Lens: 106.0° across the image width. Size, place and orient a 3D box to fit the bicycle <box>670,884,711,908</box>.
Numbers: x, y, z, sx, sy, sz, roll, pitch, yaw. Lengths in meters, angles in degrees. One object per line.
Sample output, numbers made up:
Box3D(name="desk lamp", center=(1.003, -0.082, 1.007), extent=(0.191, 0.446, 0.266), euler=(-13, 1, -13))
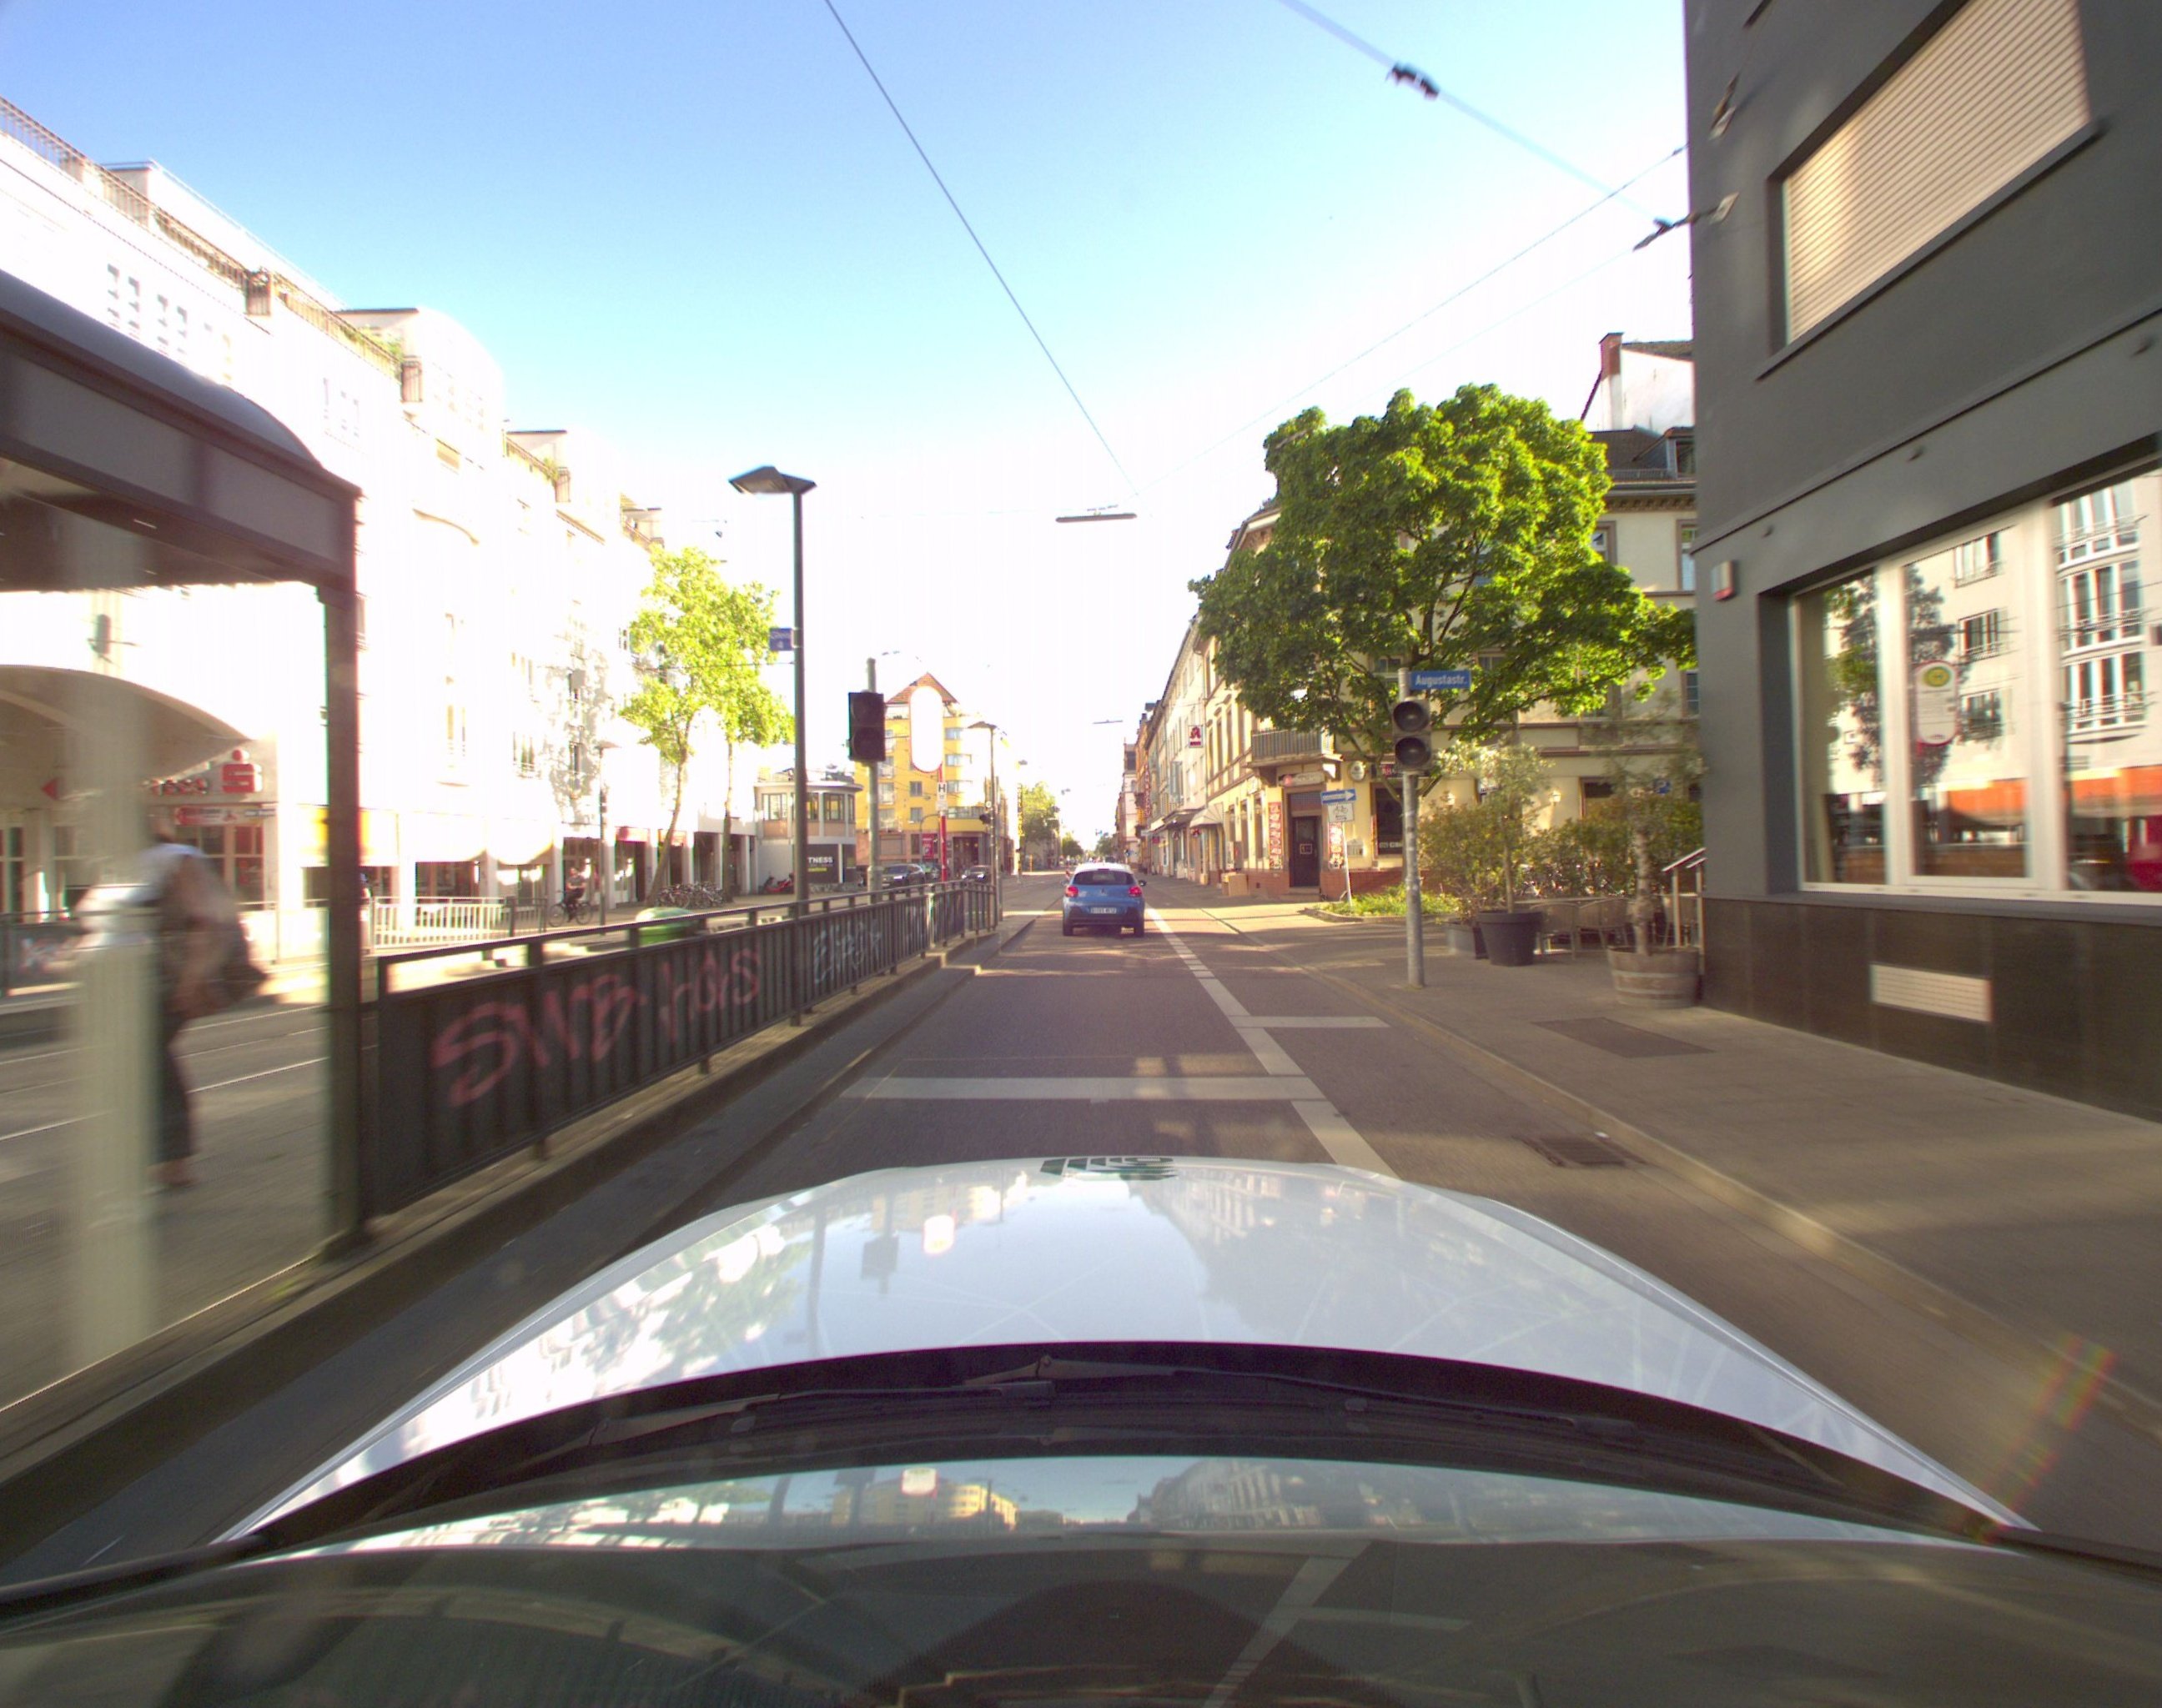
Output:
Box3D(name="bicycle", center=(-16.204, 1.731, 33.794), extent=(0.387, 0.941, 1.504), euler=(-2, -1, 37))

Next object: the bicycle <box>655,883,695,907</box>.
Box3D(name="bicycle", center=(-17.213, 1.718, 34.555), extent=(0.387, 0.941, 1.504), euler=(-2, -1, 37))

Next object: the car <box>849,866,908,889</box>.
Box3D(name="car", center=(-15.392, 1.750, 61.947), extent=(3.977, 1.674, 1.956), euler=(-1, -1, -2))

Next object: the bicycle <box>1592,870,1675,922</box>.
Box3D(name="bicycle", center=(12.491, 0.924, 18.445), extent=(1.512, 1.068, 0.349), euler=(2, 3, 35))

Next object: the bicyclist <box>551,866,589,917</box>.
Box3D(name="bicyclist", center=(-15.966, 1.164, 25.446), extent=(0.669, 1.557, 0.778), euler=(-1, -1, 2))

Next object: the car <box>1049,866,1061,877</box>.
Box3D(name="car", center=(-4.945, 3.298, 155.687), extent=(1.986, 2.014, 4.000), euler=(1, -2, 1))

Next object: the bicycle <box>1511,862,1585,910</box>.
Box3D(name="bicycle", center=(11.896, 0.803, 20.770), extent=(1.573, 1.123, 0.349), euler=(2, 3, 35))

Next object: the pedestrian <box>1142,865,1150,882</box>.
Box3D(name="pedestrian", center=(6.228, 1.842, 77.728), extent=(0.690, 1.651, 0.680), euler=(-1, -1, 0))

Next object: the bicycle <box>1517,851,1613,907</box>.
Box3D(name="bicycle", center=(10.920, 0.535, 18.404), extent=(1.825, 1.160, 0.349), euler=(2, 3, 35))

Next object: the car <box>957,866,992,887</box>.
Box3D(name="car", center=(-8.178, 1.735, 63.083), extent=(1.943, 1.486, 4.003), euler=(-2, -1, 3))

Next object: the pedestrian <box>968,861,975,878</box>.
Box3D(name="pedestrian", center=(-11.856, 1.687, 88.355), extent=(0.695, 1.858, 0.837), euler=(-1, -1, -11))

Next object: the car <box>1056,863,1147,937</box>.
Box3D(name="car", center=(0.467, 0.926, 17.855), extent=(1.774, 1.451, 3.655), euler=(1, -1, 2))

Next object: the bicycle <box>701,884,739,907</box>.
Box3D(name="bicycle", center=(-15.632, 1.787, 35.307), extent=(0.387, 0.941, 1.504), euler=(-2, -1, 37))

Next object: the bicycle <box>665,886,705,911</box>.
Box3D(name="bicycle", center=(-16.545, 1.850, 34.050), extent=(0.387, 0.941, 1.504), euler=(-2, -1, 37))

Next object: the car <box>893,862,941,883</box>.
Box3D(name="car", center=(-14.914, 1.705, 74.240), extent=(3.977, 1.848, 1.956), euler=(-1, -1, -2))

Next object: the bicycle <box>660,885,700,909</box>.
Box3D(name="bicycle", center=(-16.873, 1.819, 34.304), extent=(0.387, 0.941, 1.504), euler=(-2, -1, 37))

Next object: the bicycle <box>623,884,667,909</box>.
Box3D(name="bicycle", center=(-17.582, 1.690, 32.856), extent=(0.387, 0.941, 1.504), euler=(-2, -1, 37))

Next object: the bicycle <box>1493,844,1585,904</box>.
Box3D(name="bicycle", center=(10.674, 0.446, 19.026), extent=(1.825, 1.293, 0.349), euler=(2, 3, 35))

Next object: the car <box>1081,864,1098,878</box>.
Box3D(name="car", center=(1.060, 2.092, 100.370), extent=(1.986, 1.743, 4.001), euler=(1, -2, 2))

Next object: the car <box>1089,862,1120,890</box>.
Box3D(name="car", center=(1.573, 1.494, 55.011), extent=(1.986, 1.743, 4.001), euler=(1, -2, 2))

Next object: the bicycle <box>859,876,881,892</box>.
Box3D(name="bicycle", center=(-14.269, 2.016, 55.249), extent=(0.677, 1.002, 2.688), euler=(-1, -1, 3))

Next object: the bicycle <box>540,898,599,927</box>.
Box3D(name="bicycle", center=(-15.967, 1.810, 25.468), extent=(0.564, 0.757, 1.938), euler=(-1, -1, 3))

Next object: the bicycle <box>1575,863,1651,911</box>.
Box3D(name="bicycle", center=(13.426, 0.813, 20.590), extent=(1.573, 1.123, 0.349), euler=(2, 3, 35))

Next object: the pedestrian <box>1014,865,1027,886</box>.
Box3D(name="pedestrian", center=(-4.815, 1.717, 64.988), extent=(0.842, 1.654, 0.691), euler=(0, -1, -27))

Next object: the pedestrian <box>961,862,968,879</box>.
Box3D(name="pedestrian", center=(-12.680, 1.823, 88.409), extent=(0.695, 1.830, 0.837), euler=(-1, -1, -11))

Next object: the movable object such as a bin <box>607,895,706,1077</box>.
Box3D(name="movable object such as a bin", center=(-2.488, 0.754, 4.795), extent=(0.345, 1.007, 0.404), euler=(-1, -1, 3))

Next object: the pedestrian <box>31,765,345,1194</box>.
Box3D(name="pedestrian", center=(-3.524, 0.460, 3.266), extent=(0.619, 1.558, 0.568), euler=(-1, -1, 2))

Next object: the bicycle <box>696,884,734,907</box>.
Box3D(name="bicycle", center=(-15.991, 1.791, 35.588), extent=(0.387, 0.941, 1.504), euler=(-2, -1, 37))

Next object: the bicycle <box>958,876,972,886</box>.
Box3D(name="bicycle", center=(-9.692, 2.239, 68.018), extent=(0.677, 0.827, 2.578), euler=(-1, -1, 3))

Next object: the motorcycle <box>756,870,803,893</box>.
Box3D(name="motorcycle", center=(-17.564, 1.574, 47.474), extent=(2.506, 1.288, 0.667), euler=(-1, -1, -2))

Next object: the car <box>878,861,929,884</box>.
Box3D(name="car", center=(-15.181, 1.547, 69.701), extent=(3.977, 1.848, 1.956), euler=(-1, -1, -2))

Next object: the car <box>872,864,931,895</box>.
Box3D(name="car", center=(-10.332, 1.412, 47.214), extent=(1.743, 1.615, 4.837), euler=(-3, -1, 7))

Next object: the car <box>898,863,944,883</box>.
Box3D(name="car", center=(-15.159, 1.789, 77.324), extent=(3.977, 1.848, 1.956), euler=(-1, -1, -2))

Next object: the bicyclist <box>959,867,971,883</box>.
Box3D(name="bicyclist", center=(-9.704, 1.732, 68.022), extent=(0.727, 1.291, 1.181), euler=(-1, -1, 2))
